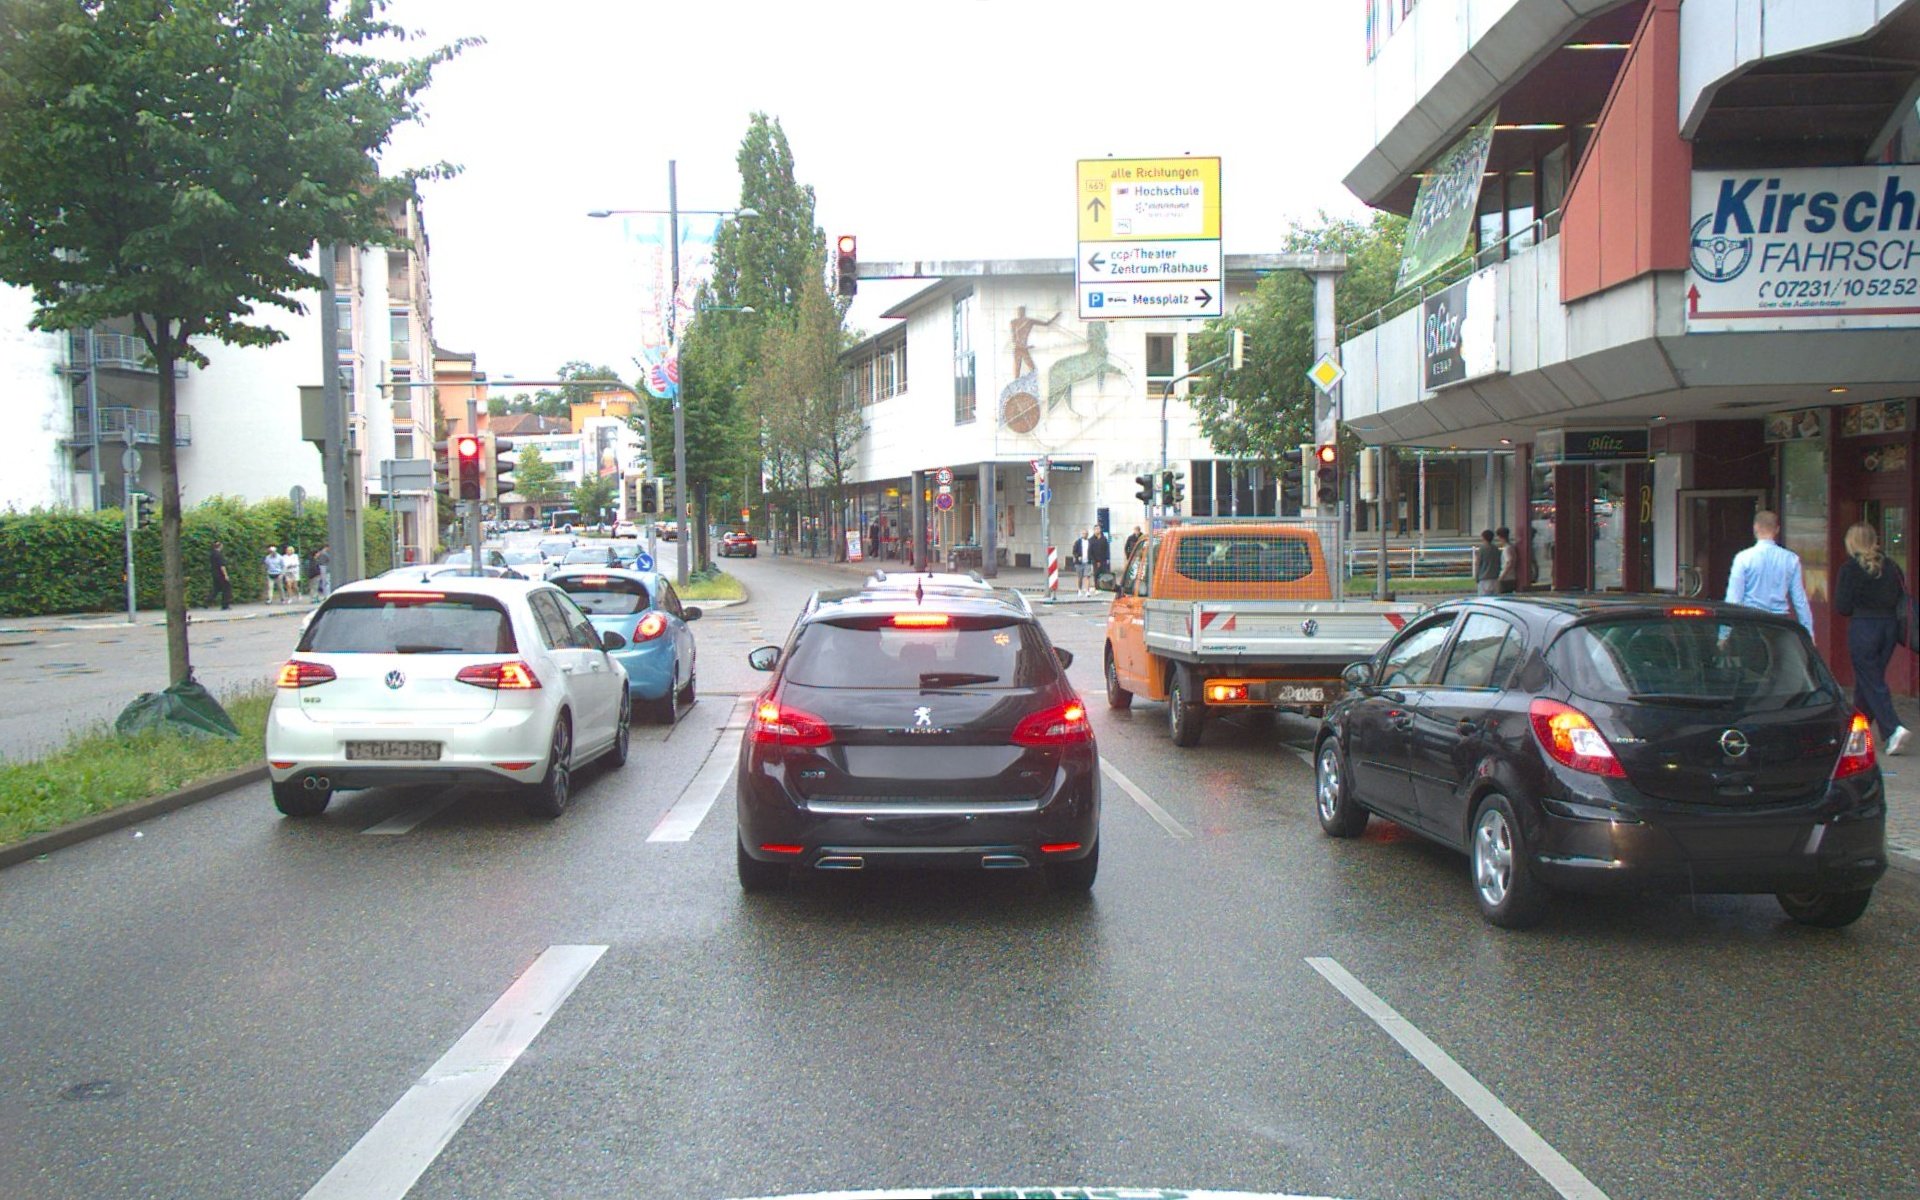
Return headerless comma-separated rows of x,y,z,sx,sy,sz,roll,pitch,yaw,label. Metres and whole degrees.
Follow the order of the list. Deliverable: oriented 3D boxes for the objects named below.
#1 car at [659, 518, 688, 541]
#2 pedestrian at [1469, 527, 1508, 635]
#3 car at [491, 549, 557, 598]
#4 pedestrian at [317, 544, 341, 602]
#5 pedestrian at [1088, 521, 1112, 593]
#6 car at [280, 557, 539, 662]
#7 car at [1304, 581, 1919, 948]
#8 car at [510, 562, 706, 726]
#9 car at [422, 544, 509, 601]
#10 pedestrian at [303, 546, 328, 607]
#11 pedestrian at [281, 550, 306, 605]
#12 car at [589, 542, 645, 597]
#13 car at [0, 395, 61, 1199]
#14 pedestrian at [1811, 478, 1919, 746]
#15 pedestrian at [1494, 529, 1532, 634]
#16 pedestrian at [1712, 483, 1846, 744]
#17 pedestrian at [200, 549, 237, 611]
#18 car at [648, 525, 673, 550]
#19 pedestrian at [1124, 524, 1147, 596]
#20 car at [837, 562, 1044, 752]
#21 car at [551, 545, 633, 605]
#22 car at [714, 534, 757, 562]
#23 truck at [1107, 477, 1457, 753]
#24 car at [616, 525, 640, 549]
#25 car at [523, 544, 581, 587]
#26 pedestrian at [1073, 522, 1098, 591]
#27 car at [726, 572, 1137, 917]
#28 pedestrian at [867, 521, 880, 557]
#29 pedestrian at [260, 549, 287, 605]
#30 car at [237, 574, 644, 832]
-23.022,-5.634,132.881,1.698,1.516,4.709,1,-1,-17,car
8.420,-0.298,26.371,0.417,1.712,0.450,-1,-1,-2,pedestrian
-14.203,-0.894,54.016,1.602,1.512,3.605,1,2,-7,car
-19.568,-0.844,51.306,0.528,1.778,0.564,1,-1,-6,pedestrian
3.842,-1.170,45.231,0.623,1.930,0.734,1,-1,6,pedestrian
-8.729,0.122,26.485,1.603,1.494,3.744,-4,-1,32,car
3.101,0.648,8.624,1.584,1.454,3.839,1,1,-4,car
-3.599,0.379,17.414,1.601,1.512,3.606,1,2,-6,car
-13.721,-0.783,46.075,1.543,1.512,3.607,1,2,-4,car
-19.375,-0.700,49.712,0.529,1.778,0.746,1,-1,-9,pedestrian
-20.178,-0.677,50.086,0.569,1.627,0.526,1,-1,-7,pedestrian
-11.281,-0.965,54.553,1.713,1.669,3.989,1,-1,-11,car
-3.038,0.448,1.409,1.873,1.903,5.071,1,-1,-2,car
7.119,0.086,12.664,0.721,1.968,0.640,-4,-1,-1,pedestrian
8.955,-0.293,26.792,0.388,1.668,0.504,-1,-1,0,pedestrian
6.354,0.104,12.858,0.721,1.968,0.640,1,-1,-1,pedestrian
-20.302,-0.549,45.309,0.624,1.671,0.734,1,-1,2,pedestrian
-26.629,-5.509,146.874,1.679,1.970,3.980,1,-1,-18,car
4.780,-1.081,45.095,0.623,1.930,0.734,1,-1,6,pedestrian
-0.190,0.423,15.337,1.662,1.512,3.793,1,2,-1,car
-10.572,-0.680,47.754,1.710,1.607,3.996,1,-1,-4,car
-13.052,-3.019,95.929,1.759,1.479,4.486,-3,3,-17,car
2.836,0.057,15.891,2.133,2.210,5.018,1,2,-3,truck
-29.239,-5.530,145.627,1.679,1.915,3.980,1,-1,-18,car
-14.991,-1.290,60.865,1.602,1.512,3.605,1,2,-7,car
3.289,-1.131,43.415,0.623,1.788,0.734,1,-1,6,pedestrian
-0.125,0.587,8.993,1.741,1.454,3.842,1,1,0,car
-4.336,-3.057,82.918,0.461,1.778,0.537,1,-1,-21,pedestrian
-20.286,-0.668,48.888,0.569,1.627,0.526,1,-1,-7,pedestrian
-3.335,0.563,11.387,1.742,1.454,3.840,1,1,-3,car
